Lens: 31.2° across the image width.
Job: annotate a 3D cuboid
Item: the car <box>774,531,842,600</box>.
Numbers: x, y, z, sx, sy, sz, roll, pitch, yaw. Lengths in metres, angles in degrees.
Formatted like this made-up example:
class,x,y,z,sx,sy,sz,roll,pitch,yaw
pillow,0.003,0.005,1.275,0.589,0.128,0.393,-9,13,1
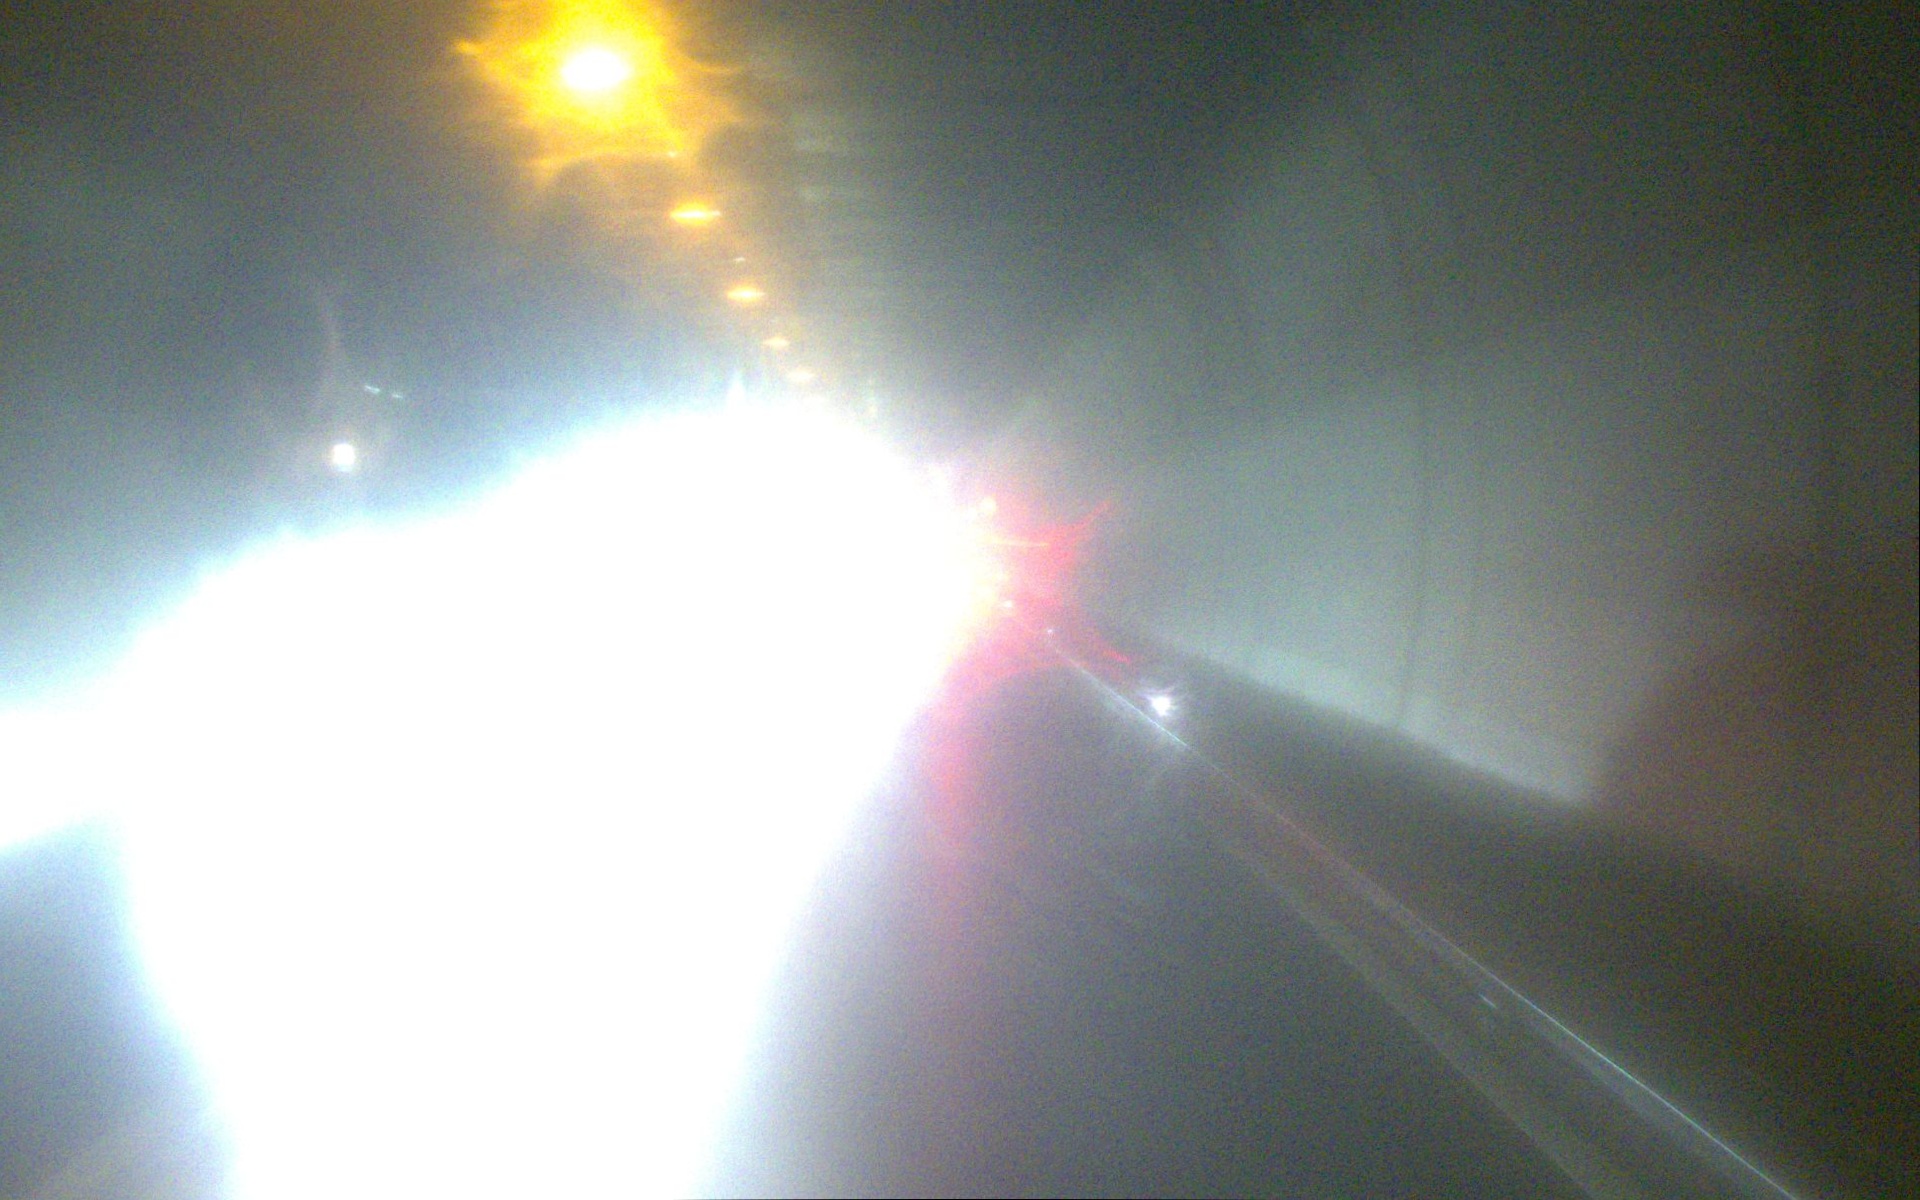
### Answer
class,x,y,z,sx,sy,sz,roll,pitch,yaw
car,-4.117,-0.943,93.576,1.729,1.786,3.932,-1,1,-1

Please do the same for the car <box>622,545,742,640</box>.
class,x,y,z,sx,sy,sz,roll,pitch,yaw
car,-4.592,-0.145,57.128,1.759,1.475,3.887,-1,1,-2

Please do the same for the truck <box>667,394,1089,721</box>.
class,x,y,z,sx,sy,sz,roll,pitch,yaw
truck,-0.745,-0.457,34.104,3.535,2.684,8.956,-2,1,0

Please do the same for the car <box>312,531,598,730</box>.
class,x,y,z,sx,sy,sz,roll,pitch,yaw
car,-3.968,0.188,27.565,1.735,1.436,3.836,-1,1,-1
